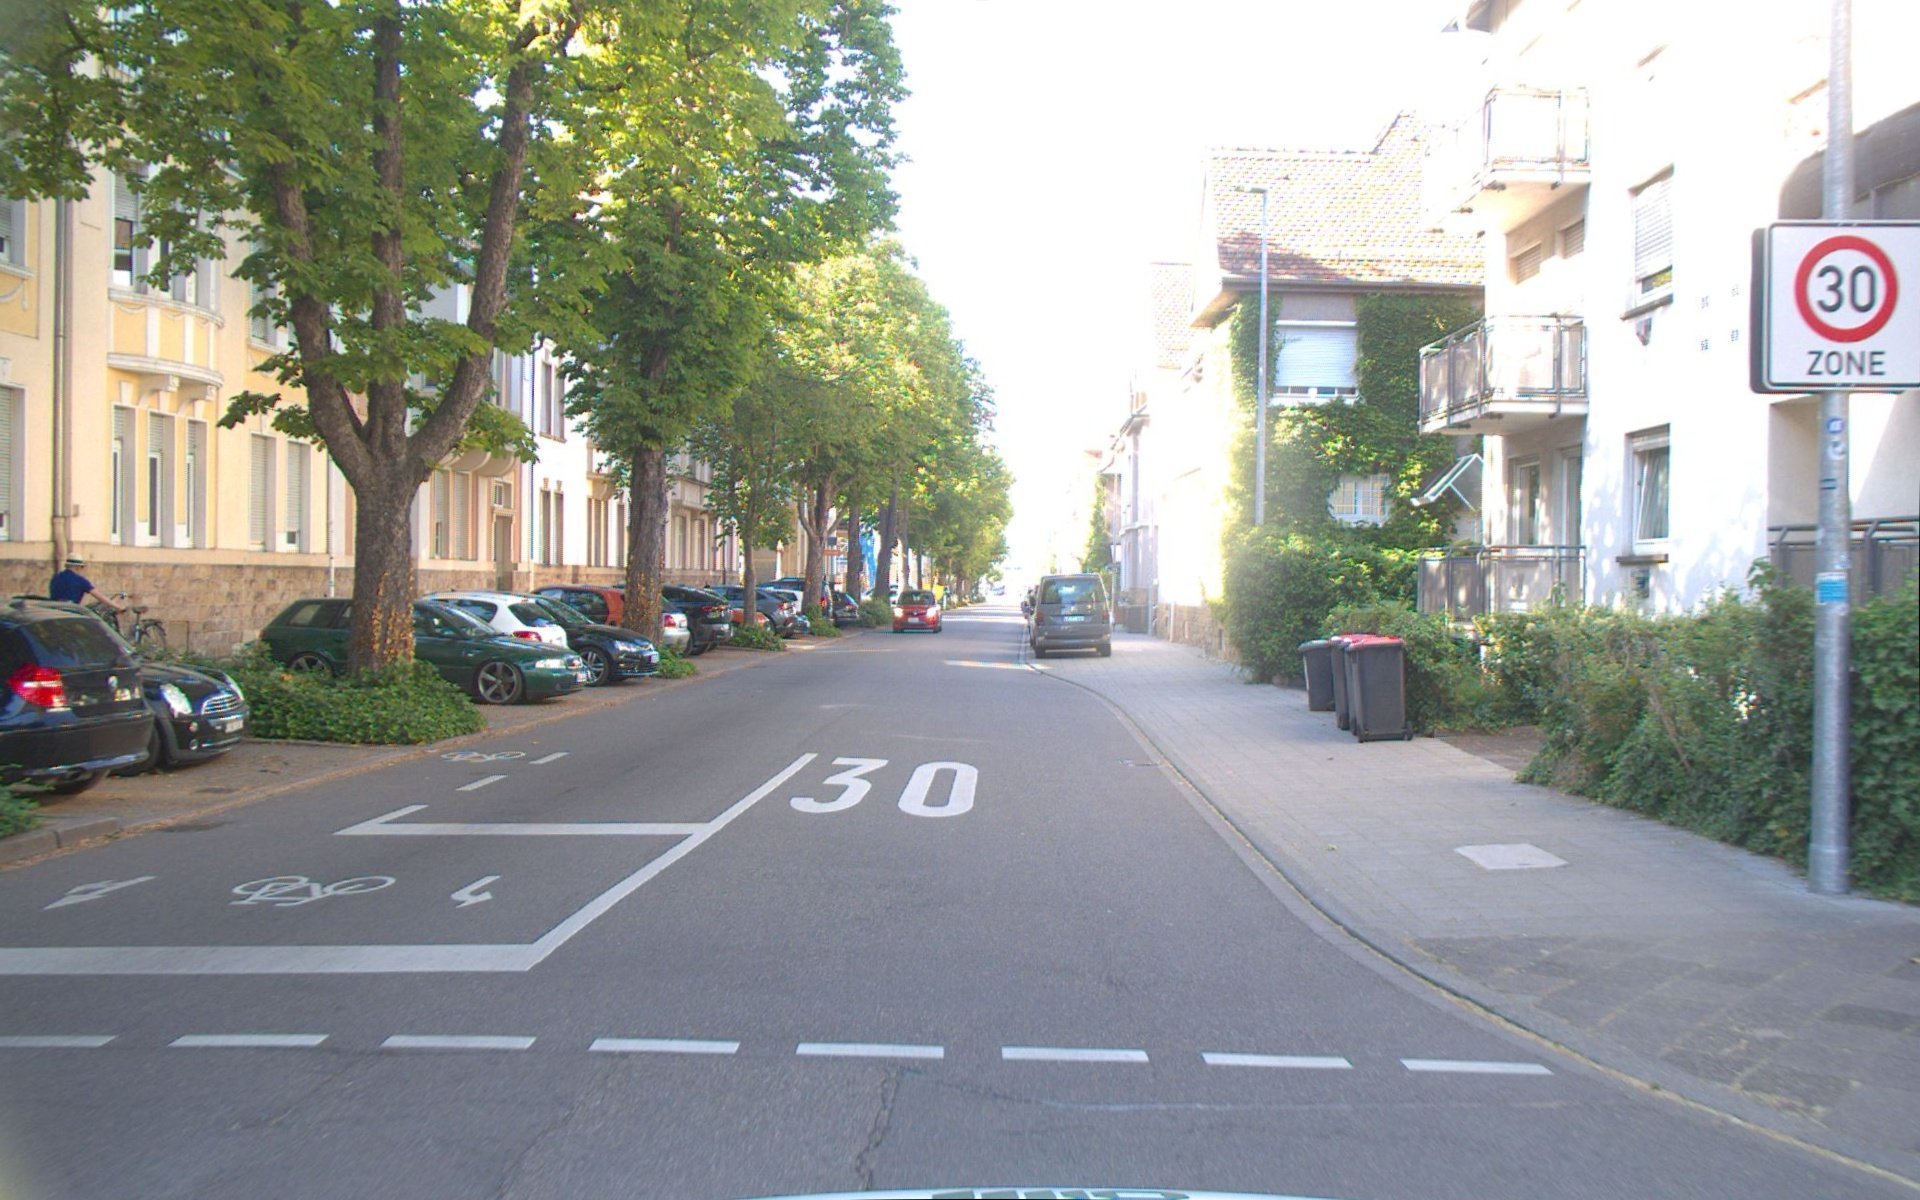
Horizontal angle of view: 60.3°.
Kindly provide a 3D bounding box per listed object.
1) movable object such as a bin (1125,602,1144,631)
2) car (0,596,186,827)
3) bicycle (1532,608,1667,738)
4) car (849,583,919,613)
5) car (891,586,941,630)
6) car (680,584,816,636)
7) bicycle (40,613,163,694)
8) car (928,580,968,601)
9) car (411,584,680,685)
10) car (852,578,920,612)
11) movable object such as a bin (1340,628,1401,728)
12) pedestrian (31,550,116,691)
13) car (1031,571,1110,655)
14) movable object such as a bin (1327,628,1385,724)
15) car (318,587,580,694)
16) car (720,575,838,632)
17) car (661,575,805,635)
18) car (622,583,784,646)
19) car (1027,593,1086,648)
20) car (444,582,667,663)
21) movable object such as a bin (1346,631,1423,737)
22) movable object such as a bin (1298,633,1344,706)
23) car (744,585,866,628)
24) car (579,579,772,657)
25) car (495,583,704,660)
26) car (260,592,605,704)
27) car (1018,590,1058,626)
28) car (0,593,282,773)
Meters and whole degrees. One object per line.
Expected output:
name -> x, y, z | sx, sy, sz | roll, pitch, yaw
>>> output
movable object such as a bin -> 6.536, 0.618, 62.026 | 0.634, 1.058, 0.828 | 0, 0, 0
car -> -7.716, 0.735, 11.609 | 3.801, 1.501, 1.616 | 0, 0, 2
bicycle -> 6.566, 0.720, 16.949 | 1.566, 1.207, 0.634 | -3, 1, -43
car -> -4.392, -0.116, 95.993 | 3.907, 1.489, 1.797 | 3, -1, -2
car -> -1.577, 0.267, 60.179 | 1.607, 1.535, 3.703 | -1, 0, 2
car -> -6.581, 0.285, 51.464 | 3.819, 1.471, 1.861 | 2, 0, 7
bicycle -> -10.456, 0.632, 20.197 | 0.462, 0.927, 1.598 | 1, 0, 9
car -> -1.217, -1.004, 169.314 | 3.922, 1.873, 2.001 | 3, 1, 4
car -> -6.790, 0.545, 27.350 | 3.903, 1.508, 1.786 | 1, 0, 3
car -> -4.361, -0.310, 98.121 | 3.907, 1.791, 1.797 | 3, 0, -2
movable object such as a bin -> 4.604, 0.871, 18.574 | 0.473, 1.062, 0.657 | -3, 0, 0
pedestrian -> -10.898, 0.244, 20.359 | 0.450, 1.687, 0.895 | 1, 0, 10
car -> 2.713, 0.290, 41.419 | 1.826, 1.949, 4.784 | 1, 0, 2
movable object such as a bin -> 4.611, 0.877, 19.259 | 0.473, 1.062, 0.618 | -3, 0, 0
car -> -7.659, 0.598, 24.985 | 3.361, 1.477, 1.704 | 1, -1, 4
car -> -6.378, 0.119, 58.565 | 3.897, 1.888, 1.829 | 1, 0, 1
car -> -6.671, 0.139, 48.878 | 3.904, 1.620, 1.860 | 2, 0, 1
car -> -6.742, 0.377, 43.624 | 3.904, 1.541, 1.748 | 1, 0, 2
car -> 3.072, 0.635, 52.872 | 1.752, 1.628, 4.002 | -2, 0, 3
car -> -7.895, 0.437, 32.494 | 3.903, 1.534, 1.723 | 0, 0, 3
movable object such as a bin -> 4.533, 0.886, 17.700 | 0.585, 1.062, 0.707 | -3, 0, 0
movable object such as a bin -> 4.901, 0.942, 22.481 | 0.493, 0.931, 0.573 | -3, 0, 4
car -> -5.907, 0.235, 63.356 | 4.438, 1.529, 1.892 | 1, 0, 1
car -> -6.347, 0.396, 37.134 | 3.903, 1.594, 1.864 | 2, 0, 3
car -> -7.529, 0.438, 34.781 | 3.903, 1.428, 1.831 | 2, 0, 3
car -> -7.137, 0.636, 22.645 | 4.124, 1.372, 1.703 | 1, -1, 2
car -> 3.573, 0.364, 76.221 | 1.664, 1.566, 4.155 | -2, 0, 0
car -> -8.050, 0.668, 14.160 | 3.806, 1.440, 1.614 | 1, 0, -4
